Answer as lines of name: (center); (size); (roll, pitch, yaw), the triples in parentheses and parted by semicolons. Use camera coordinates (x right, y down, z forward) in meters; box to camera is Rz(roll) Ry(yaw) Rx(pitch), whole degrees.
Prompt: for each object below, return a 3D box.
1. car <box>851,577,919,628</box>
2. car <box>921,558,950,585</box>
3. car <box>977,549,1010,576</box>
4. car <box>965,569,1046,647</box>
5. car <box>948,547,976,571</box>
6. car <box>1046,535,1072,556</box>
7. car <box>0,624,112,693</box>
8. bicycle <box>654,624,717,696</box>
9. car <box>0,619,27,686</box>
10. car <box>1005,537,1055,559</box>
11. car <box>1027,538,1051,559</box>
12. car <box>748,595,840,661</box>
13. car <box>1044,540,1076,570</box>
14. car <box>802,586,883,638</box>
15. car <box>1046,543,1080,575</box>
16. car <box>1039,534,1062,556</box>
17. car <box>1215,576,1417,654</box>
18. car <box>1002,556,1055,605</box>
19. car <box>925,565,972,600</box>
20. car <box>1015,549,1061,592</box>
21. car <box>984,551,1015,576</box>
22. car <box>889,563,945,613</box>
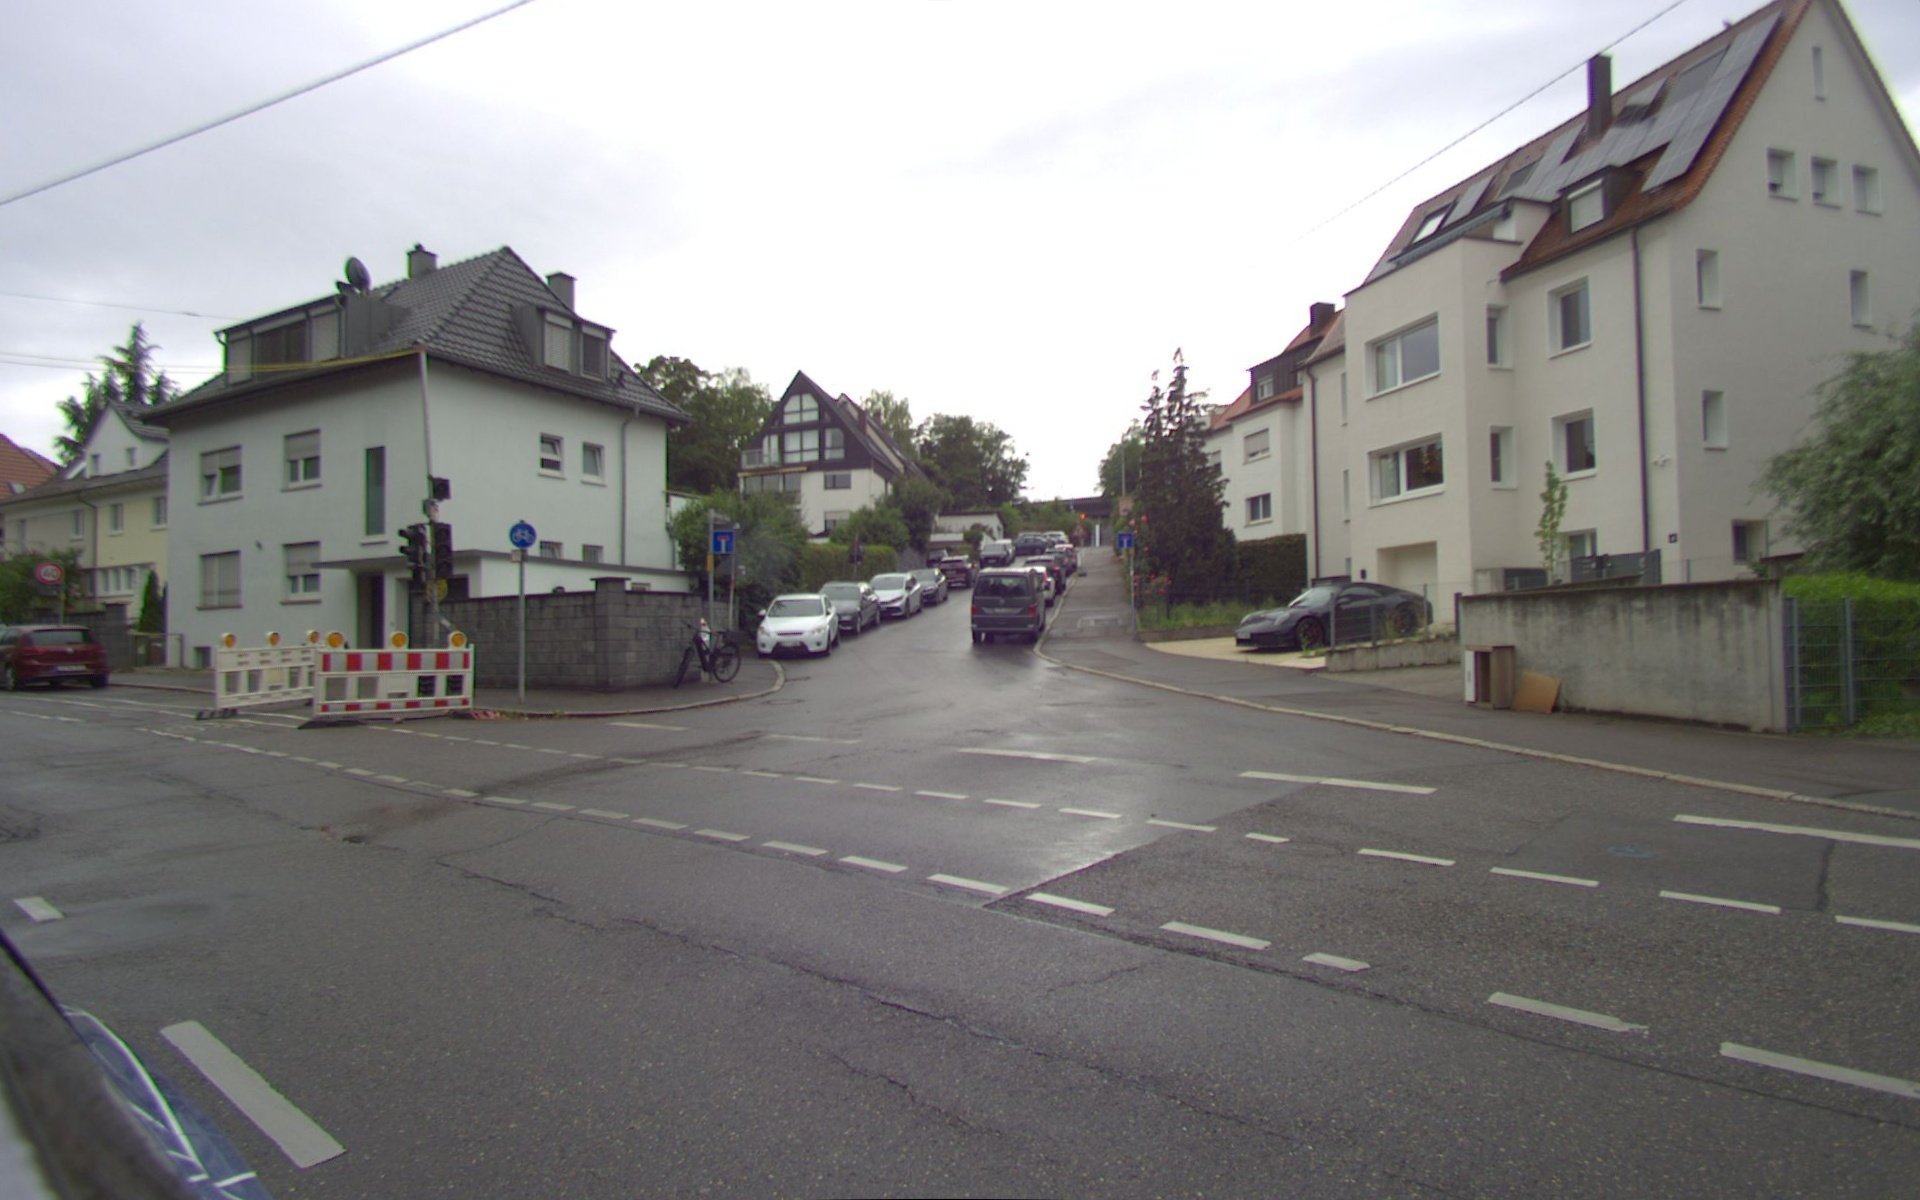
car: (-2.676, 0.057, 36.822); (1.867, 1.733, 3.994); (0, 1, 5)
car: (-1.672, -1.943, 68.977); (1.863, 1.733, 4.003); (0, 1, -2)
car: (2.269, -2.484, 67.908); (1.869, 1.733, 3.991); (0, 2, 8)
car: (1.386, 0.149, 28.985); (1.976, 1.933, 3.992); (0, 4, 8)
car: (0.103, -2.981, 74.098); (1.863, 1.733, 4.003); (0, 1, -2)
car: (10.226, -5.590, 104.317); (1.983, 2.028, 3.977); (0, 2, 18)
car: (-21.445, 1.332, 23.437); (4.216, 1.451, 1.604); (-2, -2, 33)
bicycle: (-4.802, 1.019, 17.775); (0.458, 1.132, 1.514); (0, 1, 10)
car: (-25.997, 1.334, 25.719); (4.378, 1.671, 1.745); (-2, -3, 24)
car: (5.791, -4.288, 83.654); (3.956, 1.733, 1.886); (0, 1, 10)
car: (6.924, -4.515, 88.652); (1.869, 1.733, 3.991); (0, 2, 8)
car: (-4.164, 0.647, 25.920); (1.863, 1.477, 4.003); (0, 2, -2)
car: (6.250, -2.841, 62.865); (1.847, 1.758, 3.992); (0, 4, 8)
car: (-3.631, 0.322, 31.882); (1.867, 1.477, 3.996); (0, 2, 3)
car: (5.968, -2.376, 58.401); (1.847, 1.758, 3.992); (0, 4, 8)
car: (8.796, -5.296, 98.329); (1.977, 2.028, 3.989); (0, 1, 9)
car: (7.644, 0.299, 21.801); (3.754, 1.519, 1.740); (-1, -1, -16)
car: (2.744, -0.820, 40.017); (1.847, 1.758, 3.992); (0, 4, 8)
car: (-0.547, -0.935, 52.003); (1.869, 1.733, 3.991); (0, 2, 8)
car: (3.539, -1.358, 45.298); (1.847, 1.758, 3.992); (0, 4, 8)
car: (2.893, -2.646, 73.932); (1.869, 1.733, 3.991); (0, 2, 8)
car: (-1.743, -0.526, 42.679); (1.867, 2.007, 3.994); (0, 1, 5)
